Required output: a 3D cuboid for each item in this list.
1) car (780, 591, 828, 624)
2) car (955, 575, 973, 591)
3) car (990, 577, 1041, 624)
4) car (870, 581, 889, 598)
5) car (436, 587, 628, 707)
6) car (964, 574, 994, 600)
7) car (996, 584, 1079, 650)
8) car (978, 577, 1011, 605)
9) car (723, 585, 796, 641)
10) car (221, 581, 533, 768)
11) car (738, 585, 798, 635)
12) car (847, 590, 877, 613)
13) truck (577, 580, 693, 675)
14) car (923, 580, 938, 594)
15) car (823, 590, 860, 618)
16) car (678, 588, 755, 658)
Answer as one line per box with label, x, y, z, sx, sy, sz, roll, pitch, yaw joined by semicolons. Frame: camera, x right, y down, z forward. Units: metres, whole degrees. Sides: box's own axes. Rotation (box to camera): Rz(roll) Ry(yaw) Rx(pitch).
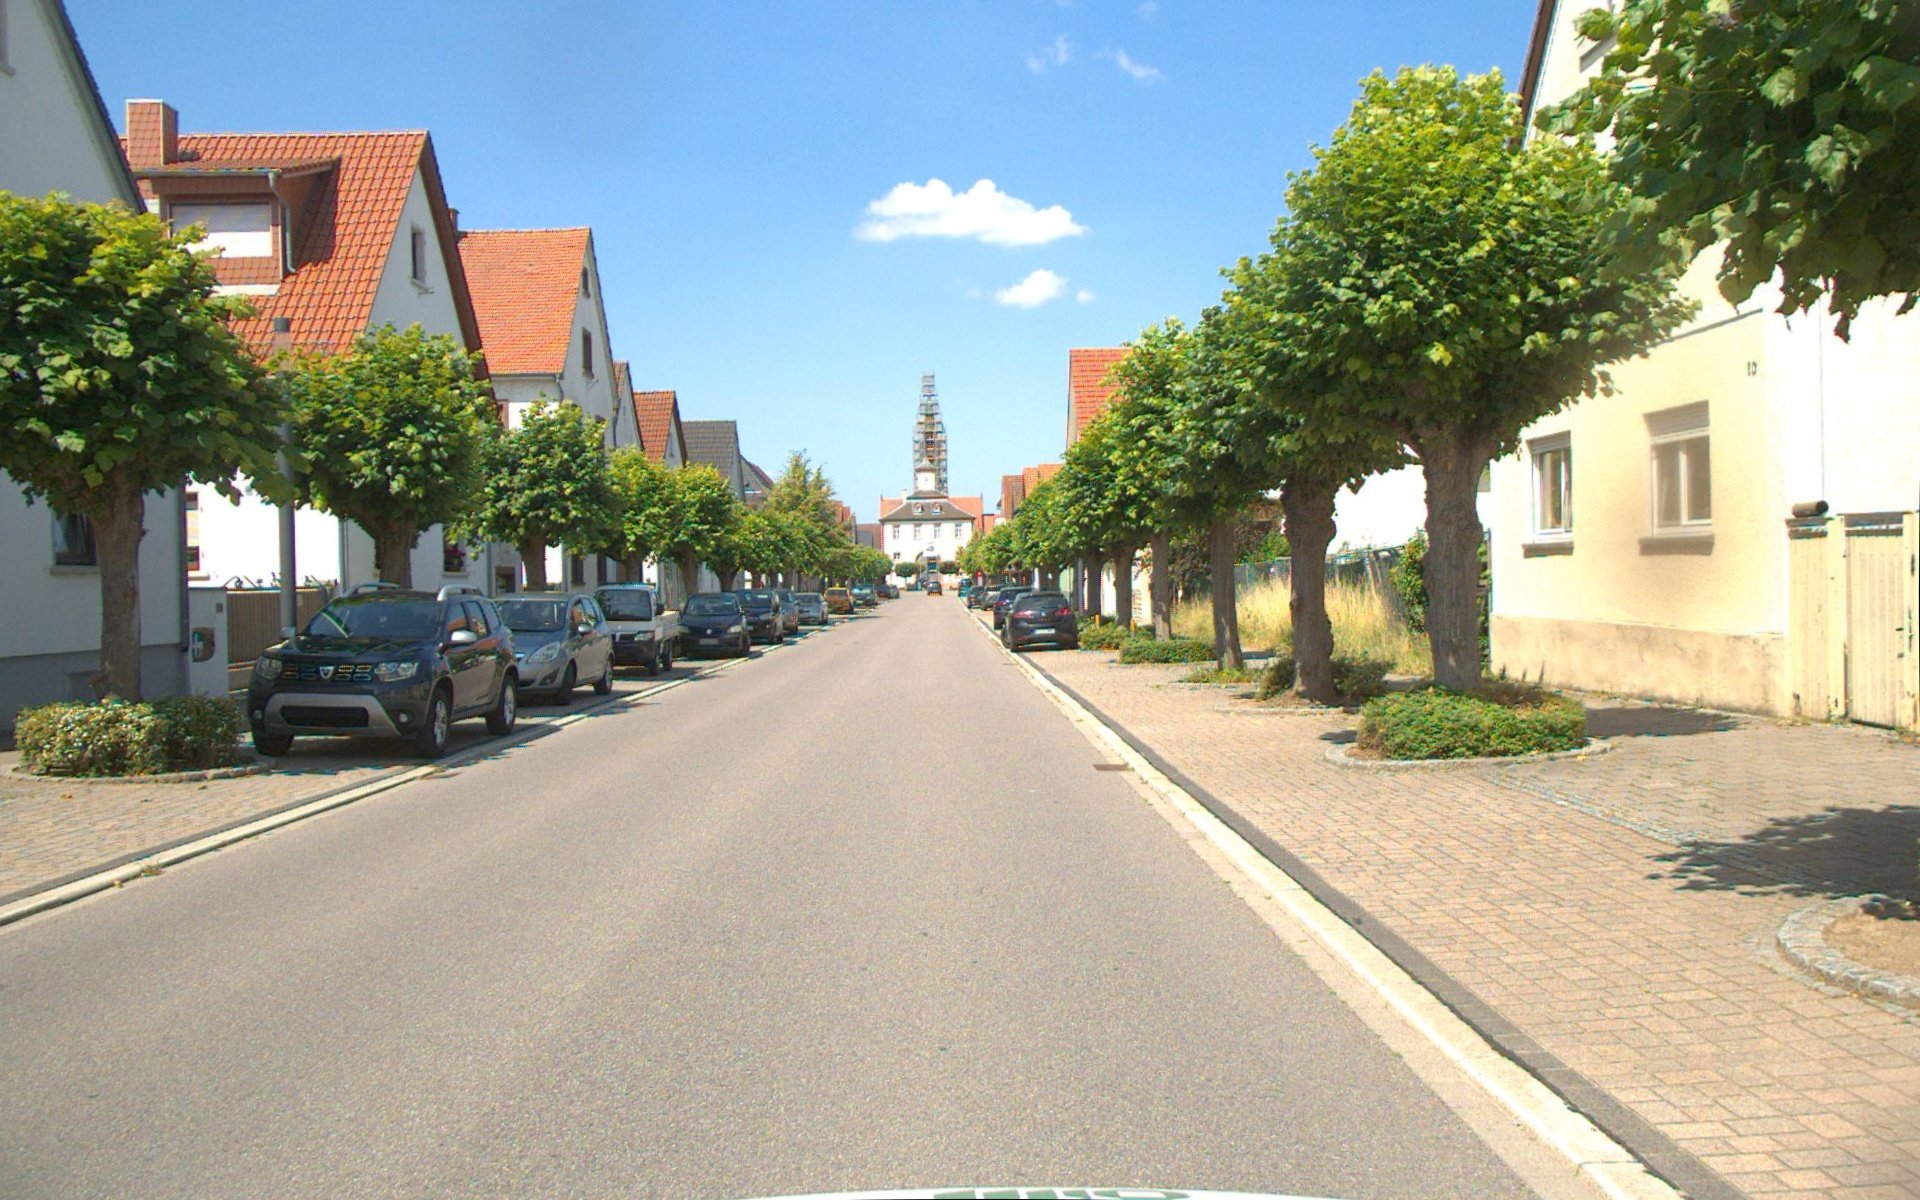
car;-6.956;0.314;74.251;1.803;1.420;4.405;-1;1;-1
car;0.409;-1.835;174.662;1.800;1.582;4.313;-3;1;0
car;2.172;-0.002;63.639;1.786;1.613;4.059;-3;1;3
car;-8.173;-1.074;168.845;1.722;1.582;4.020;-2;1;0
car;-6.335;0.641;24.977;1.815;1.641;4.370;0;0;-1
car;1.277;-0.904;111.827;1.800;1.582;4.313;-3;1;-1
car;1.946;0.403;42.399;1.787;1.457;4.056;-4;1;-1
car;2.153;-0.579;104.188;1.800;1.635;3.999;-1;1;-2
car;-6.135;0.366;51.040;1.815;1.664;4.056;0;0;-1
car;-5.940;0.663;17.439;1.815;1.665;4.299;1;1;-1
car;-6.915;0.333;59.964;1.954;1.681;4.364;1;1;-4
car;-7.423;0.084;125.881;1.953;1.639;4.689;-1;1;0
truck;-6.490;0.502;33.407;1.544;1.796;4.191;0;0;-1
car;-3.299;-1.460;184.740;1.694;1.574;3.455;0;0;-1
car;-7.456;0.233;104.407;1.953;1.639;4.689;0;1;0
car;-6.096;0.529;41.746;1.751;1.662;3.995;-1;0;-6
